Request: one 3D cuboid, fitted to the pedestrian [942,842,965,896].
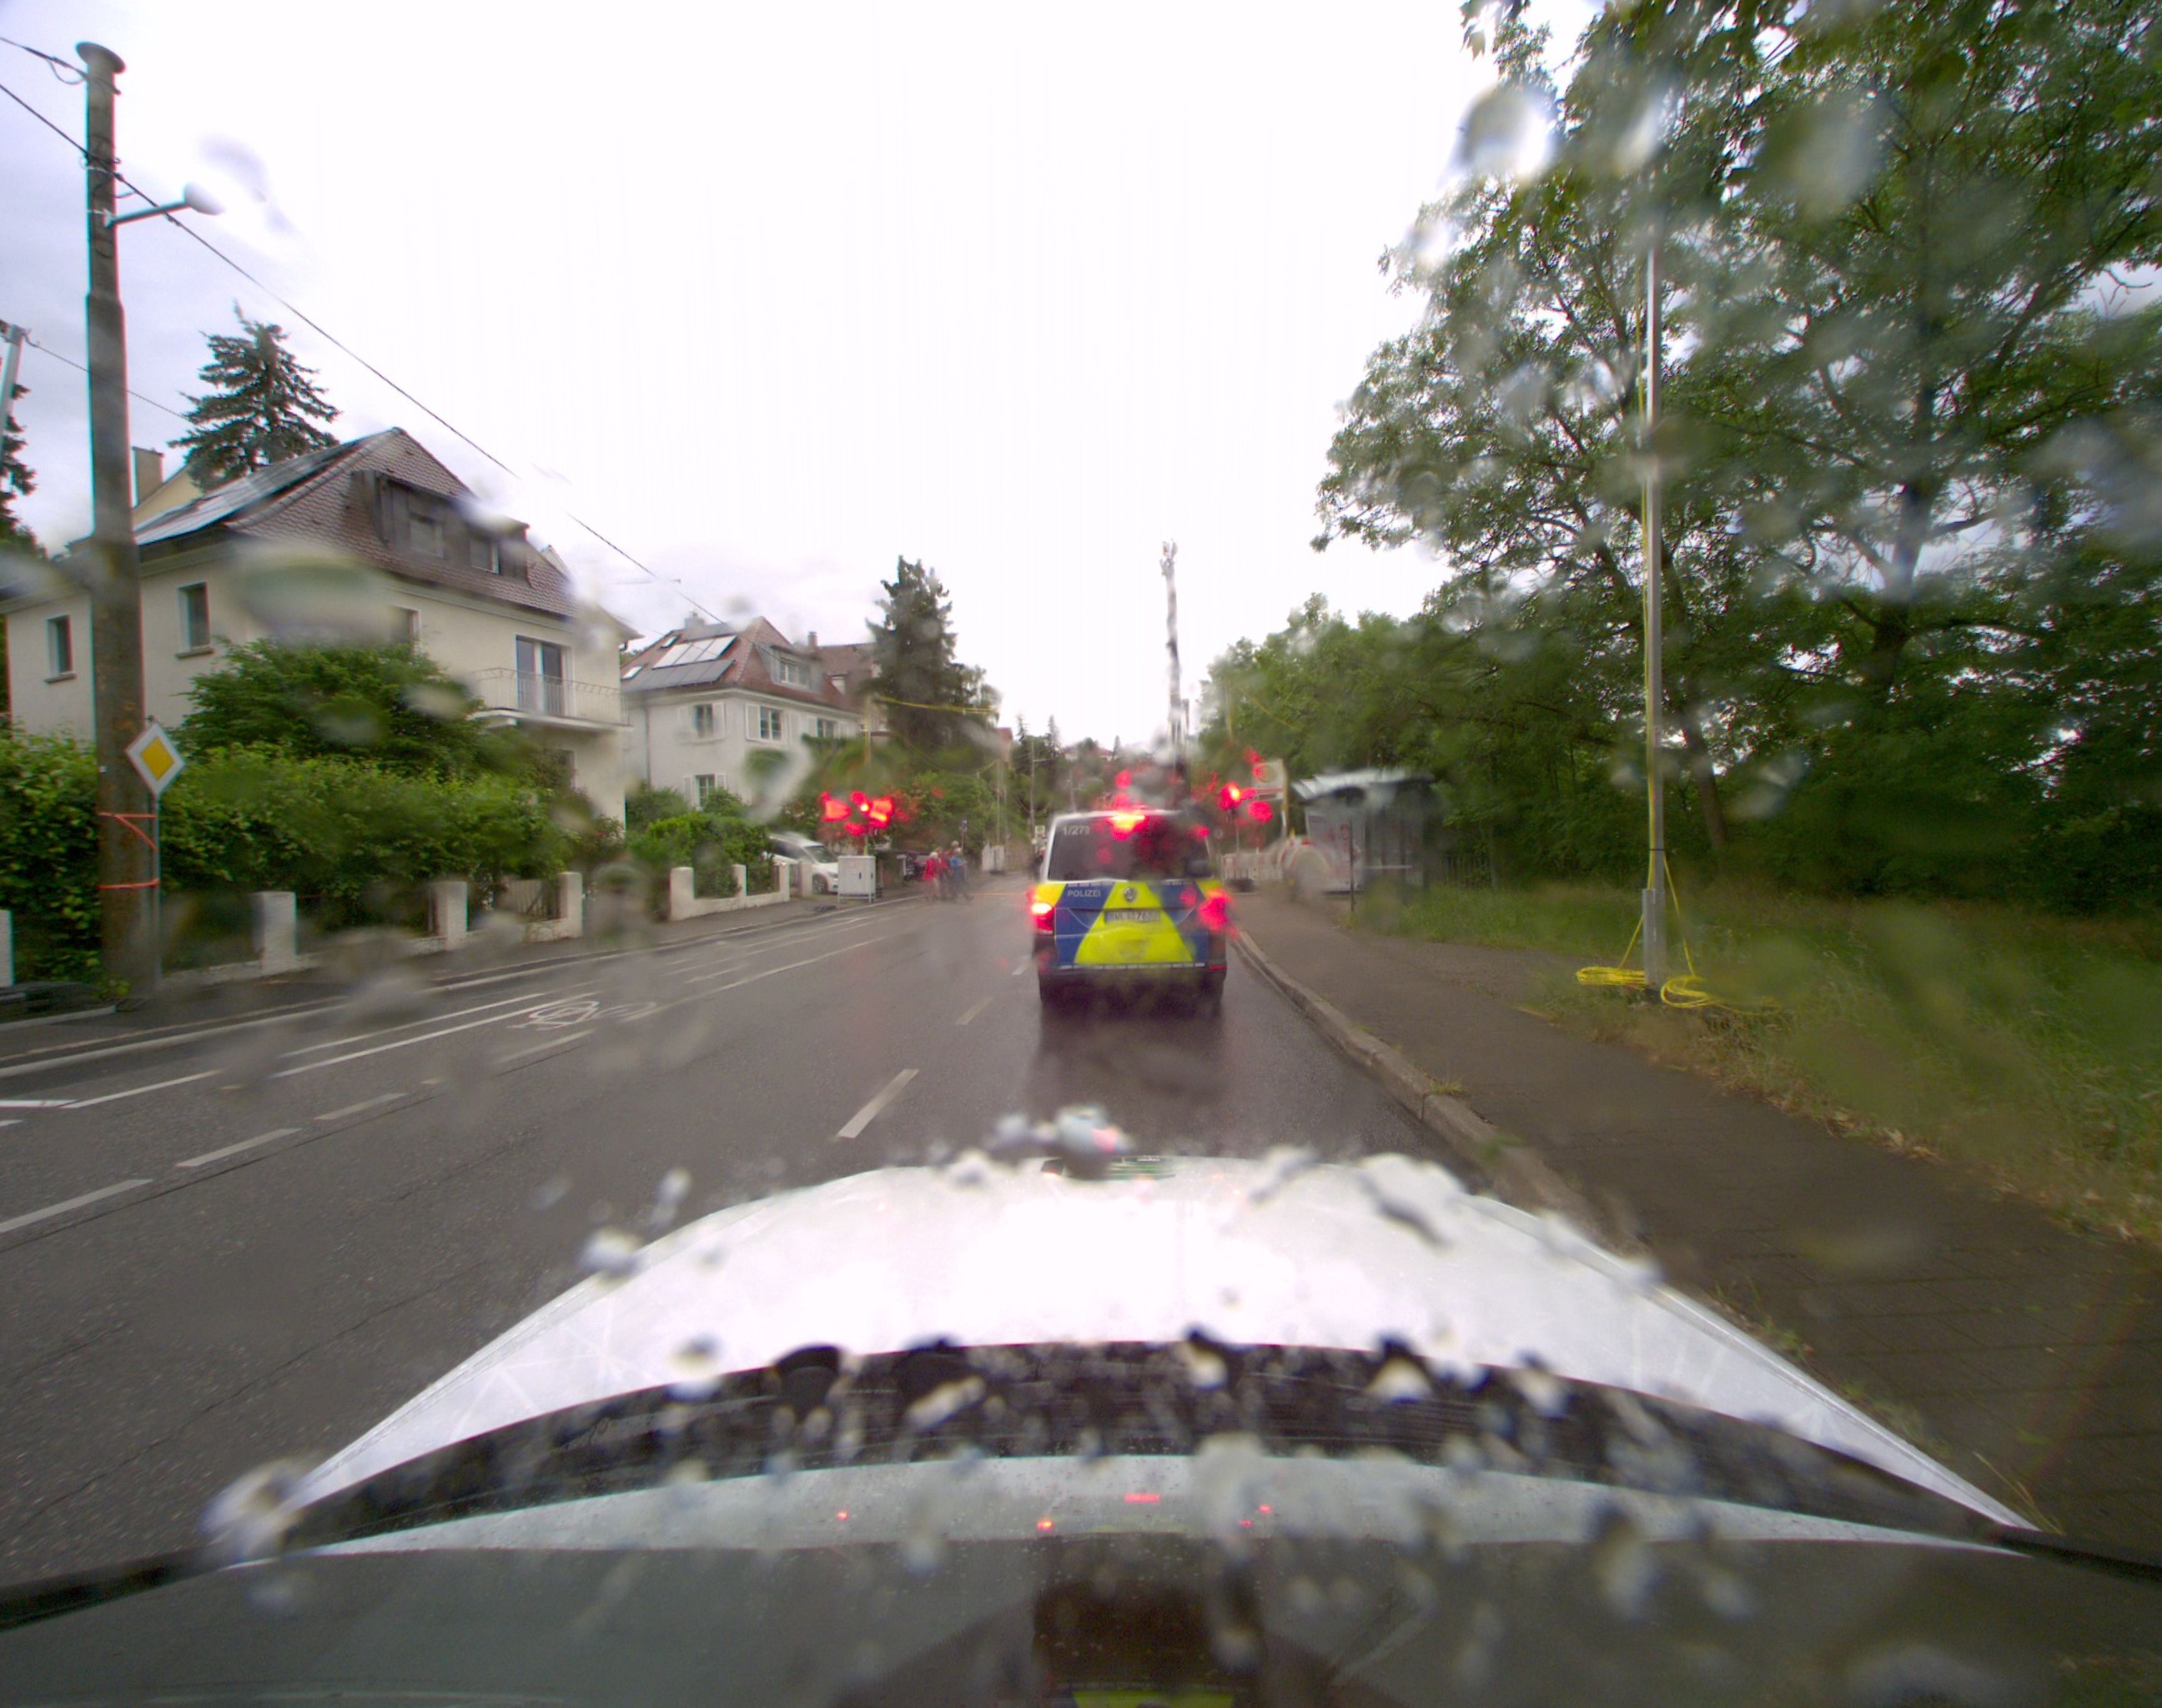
[{"bbox_3d":[-4.141,0.483,26.457,0.623,1.715,0.593,0,-2,4],"label":"pedestrian"}]

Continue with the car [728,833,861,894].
[{"bbox_3d":[-9.919,0.331,28.319,3.959,2.013,1.837,-1,0,13],"label":"car"}]

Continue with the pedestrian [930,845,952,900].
[{"bbox_3d":[-4.256,0.557,24.763,0.546,1.668,0.414,0,-2,4],"label":"pedestrian"}]

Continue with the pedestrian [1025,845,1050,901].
[{"bbox_3d":[-1.255,0.541,23.569,0.683,1.604,0.606,0,-2,1],"label":"pedestrian"}]

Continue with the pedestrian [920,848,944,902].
[{"bbox_3d":[-4.410,0.609,24.113,0.560,1.582,0.468,0,-2,4],"label":"pedestrian"}]

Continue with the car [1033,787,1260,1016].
[{"bbox_3d":[0.739,0.414,9.457,1.984,2.013,4.407,-1,0,4],"label":"car"}]

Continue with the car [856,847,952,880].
[{"bbox_3d":[-8.200,0.457,37.878,3.960,1.486,1.766,0,-2,12],"label":"car"}]

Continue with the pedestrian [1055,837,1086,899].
[{"bbox_3d":[-0.299,0.409,23.757,0.887,1.787,0.828,0,-2,1],"label":"pedestrian"}]

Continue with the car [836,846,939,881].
[{"bbox_3d":[-8.458,0.438,35.734,3.960,1.486,1.766,0,-2,12],"label":"car"}]

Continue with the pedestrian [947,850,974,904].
[{"bbox_3d":[-3.433,0.661,23.236,0.623,1.522,0.593,0,-2,4],"label":"pedestrian"}]

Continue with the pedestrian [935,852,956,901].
[{"bbox_3d":[-4.275,0.708,25.709,0.523,1.507,0.429,0,-2,4],"label":"pedestrian"}]
